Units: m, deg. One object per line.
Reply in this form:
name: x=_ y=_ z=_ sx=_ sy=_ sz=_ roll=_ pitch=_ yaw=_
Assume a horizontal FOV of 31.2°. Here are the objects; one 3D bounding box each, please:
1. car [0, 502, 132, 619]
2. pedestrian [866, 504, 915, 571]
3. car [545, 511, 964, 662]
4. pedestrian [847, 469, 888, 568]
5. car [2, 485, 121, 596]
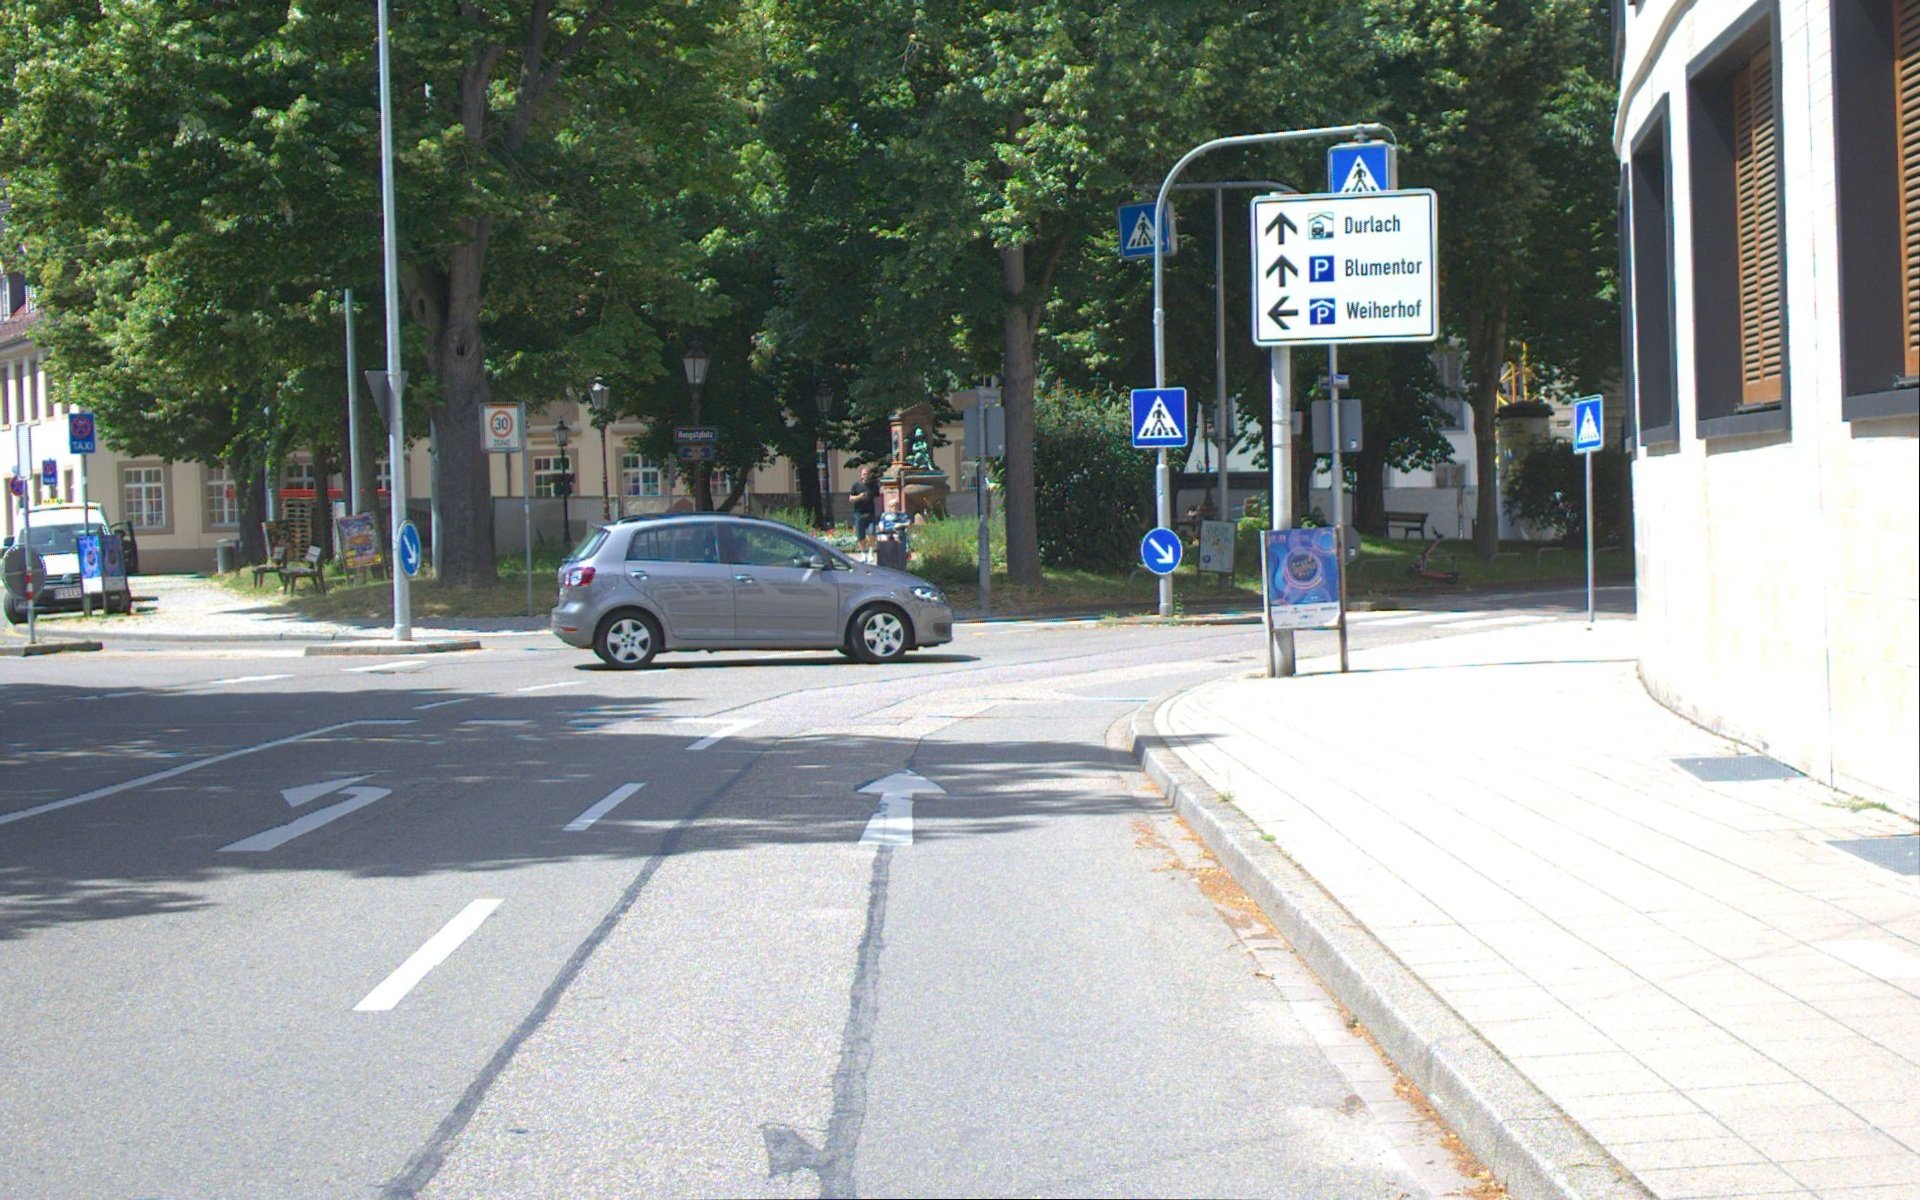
car: x=-14.673 y=-0.681 z=56.347 sx=1.993 sy=1.820 sz=4.424 roll=-1 pitch=1 yaw=-15
pedestrian: x=-1.335 y=-1.208 z=66.083 sx=0.906 sy=1.247 sz=1.148 roll=0 pitch=3 yaw=1
car: x=-2.192 y=-0.155 z=35.947 sx=4.228 sy=1.528 sz=1.910 roll=0 pitch=1 yaw=-8
pedestrian: x=-1.796 y=-1.588 z=66.879 sx=0.748 sy=1.904 sz=0.684 roll=0 pitch=3 yaw=1
car: x=-16.924 y=-1.141 z=64.941 sx=2.049 sy=1.996 sz=5.251 roll=-1 pitch=1 yaw=-14
